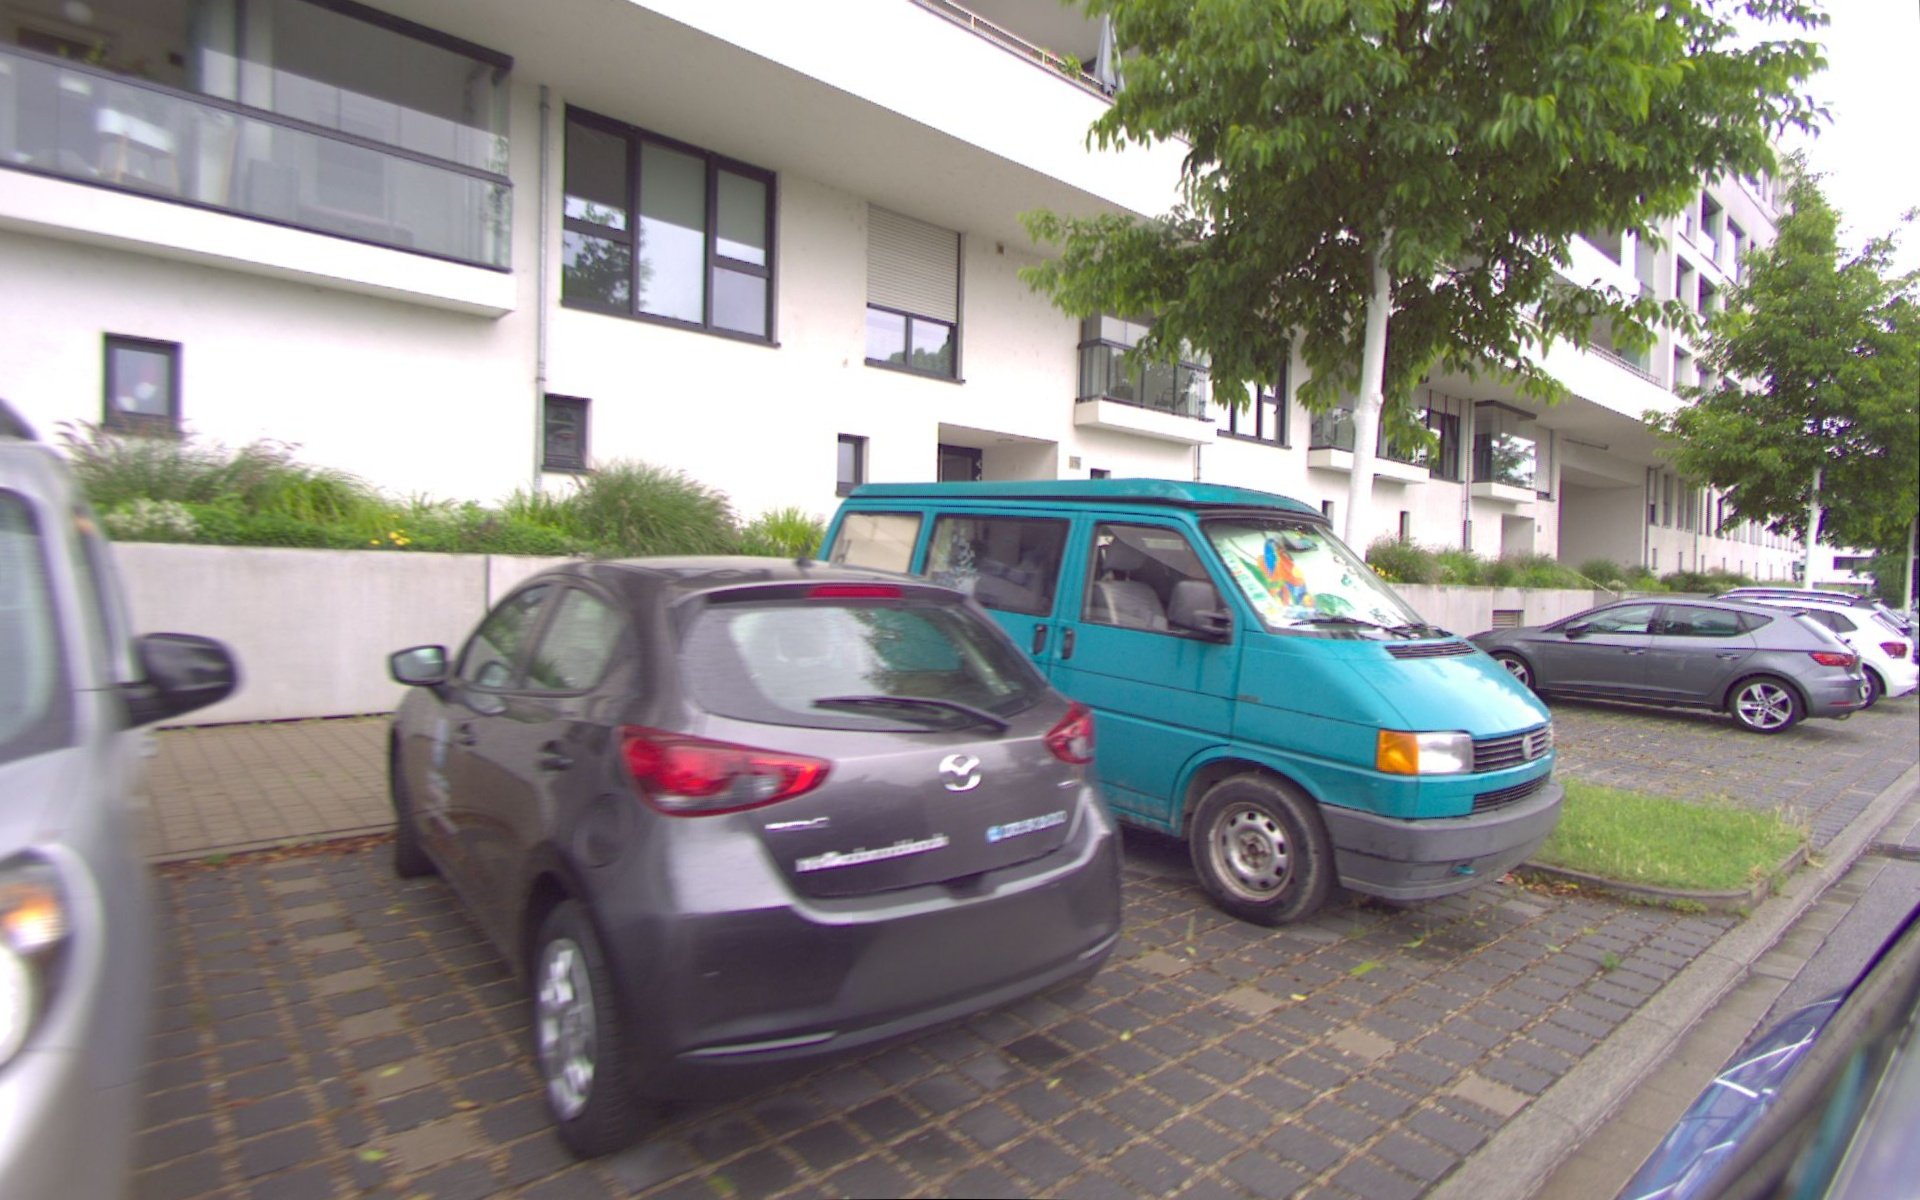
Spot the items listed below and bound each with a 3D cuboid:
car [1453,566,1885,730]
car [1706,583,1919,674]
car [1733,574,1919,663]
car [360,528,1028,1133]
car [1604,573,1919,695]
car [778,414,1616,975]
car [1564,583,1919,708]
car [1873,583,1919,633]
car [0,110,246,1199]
[{"bbox_3d":[8.459,0.445,12.353,1.604,1.517,4.036,0,3,-43],"label":"car"},{"bbox_3d":[17.715,0.544,20.385,1.654,1.528,3.996,2,2,-41],"label":"car"},{"bbox_3d":[21.125,0.440,23.662,1.902,1.707,4.486,1,4,-42],"label":"car"},{"bbox_3d":[-1.352,0.522,4.158,1.295,1.501,3.259,1,1,-42],"label":"car"},{"bbox_3d":[13.681,0.465,17.264,1.866,1.644,4.168,0,3,-43],"label":"car"},{"bbox_3d":[0.949,0.264,6.026,1.826,2.044,4.625,0,2,-42],"label":"car"},{"bbox_3d":[11.969,0.585,15.541,1.609,1.445,4.306,0,3,-42],"label":"car"},{"bbox_3d":[37.221,0.483,37.663,1.854,1.704,4.549,0,7,-43],"label":"car"},{"bbox_3d":[-2.855,0.312,2.305,1.695,1.917,4.104,1,2,-39],"label":"car"}]
